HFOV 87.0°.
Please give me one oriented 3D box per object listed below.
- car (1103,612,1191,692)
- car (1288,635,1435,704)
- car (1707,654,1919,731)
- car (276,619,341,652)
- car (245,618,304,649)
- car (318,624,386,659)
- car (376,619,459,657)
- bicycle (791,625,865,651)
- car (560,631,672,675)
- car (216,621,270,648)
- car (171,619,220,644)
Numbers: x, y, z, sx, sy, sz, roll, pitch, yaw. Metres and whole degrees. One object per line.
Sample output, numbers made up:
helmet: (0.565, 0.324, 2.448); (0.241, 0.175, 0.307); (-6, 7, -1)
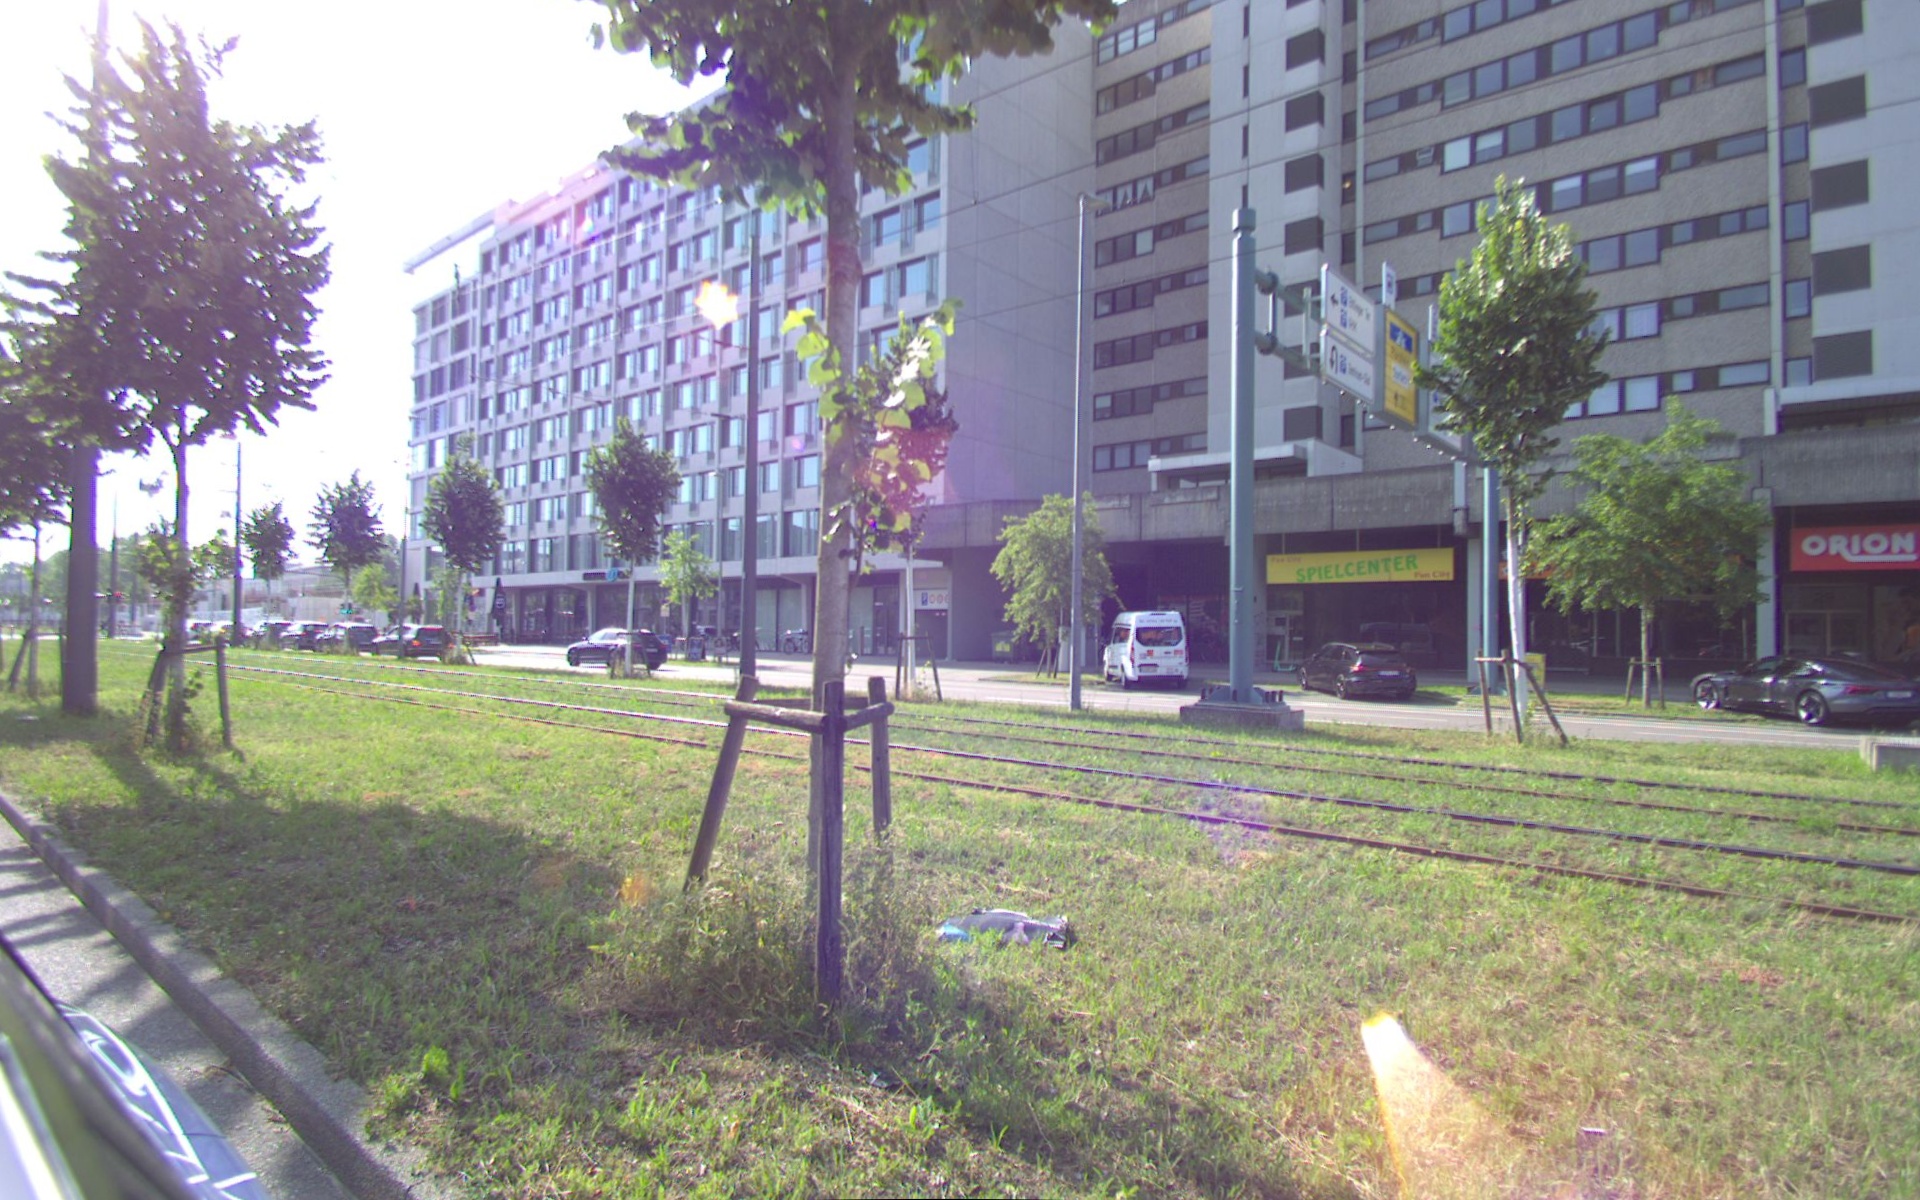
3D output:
car: (5.881, 1.608, 32.492); (1.859, 2.326, 5.407); (1, -2, 1)
car: (10.807, 1.828, 27.600); (2.070, 1.594, 4.005); (-1, -1, -6)
car: (18.187, 1.870, 21.323); (1.854, 1.253, 4.109); (-1, 0, 1)
car: (-32.494, 1.737, 50.444); (4.001, 1.586, 1.787); (-1, -2, 44)
car: (-36.632, 1.775, 54.030); (4.001, 1.586, 1.787); (-1, -2, 44)
car: (-27.759, 1.878, 46.157); (3.642, 1.498, 1.722); (-1, -3, 44)
car: (-22.062, 1.525, 41.098); (4.001, 1.492, 1.787); (-1, -2, 44)
bicycle: (-7.095, 2.055, 54.649); (3.937, 1.377, 1.128); (2, -2, -40)
car: (-12.910, 1.941, 37.900); (4.416, 1.502, 1.973); (-1, -2, 40)
car: (-41.275, 1.952, 58.214); (4.001, 1.486, 1.787); (-1, -2, 44)
car: (-49.208, 2.004, 65.140); (3.999, 1.536, 1.764); (-1, -2, 42)
